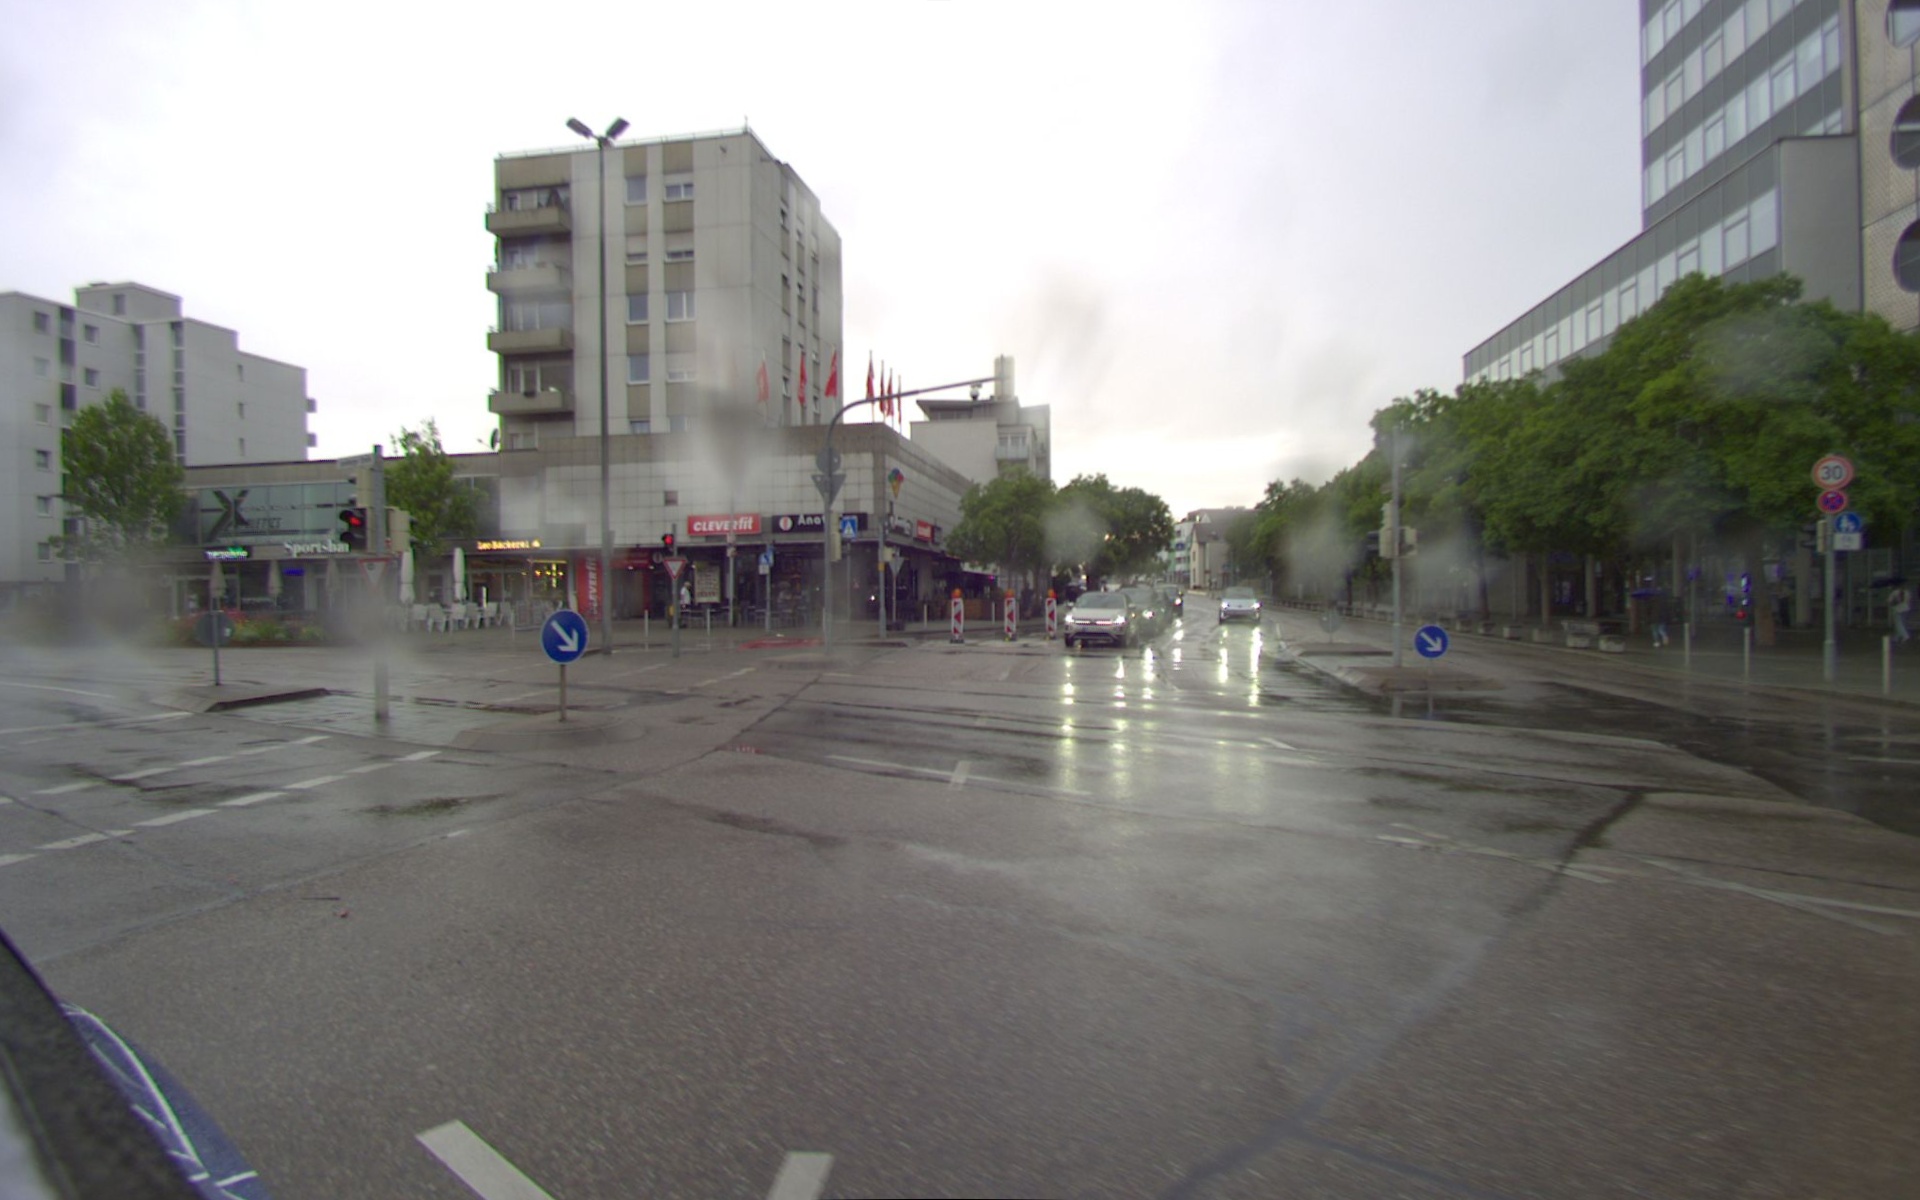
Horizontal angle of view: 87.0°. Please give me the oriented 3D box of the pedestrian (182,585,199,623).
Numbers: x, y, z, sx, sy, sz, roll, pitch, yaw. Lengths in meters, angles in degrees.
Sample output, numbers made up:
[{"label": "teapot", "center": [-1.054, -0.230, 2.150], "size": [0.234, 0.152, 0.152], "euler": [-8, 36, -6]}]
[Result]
[{"label": "pedestrian", "center": [-38.149, 0.204, 50.162], "size": [0.497, 1.862, 0.424], "euler": [-1, 0, 21]}]

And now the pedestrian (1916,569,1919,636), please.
[{"label": "pedestrian", "center": [27.454, 0.063, 28.315], "size": [0.748, 1.882, 0.827], "euler": [-1, -1, 22]}]

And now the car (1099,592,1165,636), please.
[{"label": "car", "center": [6.150, 0.442, 35.878], "size": [1.853, 1.431, 4.037], "euler": [0, 1, 16]}]

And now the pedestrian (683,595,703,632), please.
[{"label": "pedestrian", "center": [-9.977, 0.492, 37.839], "size": [0.490, 1.358, 0.537], "euler": [-1, 0, -44]}]

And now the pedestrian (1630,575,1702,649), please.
[{"label": "pedestrian", "center": [20.018, 0.318, 28.740], "size": [1.152, 2.029, 1.325], "euler": [-1, 0, 8]}]

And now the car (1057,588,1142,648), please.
[{"label": "car", "center": [4.097, 0.497, 29.193], "size": [1.853, 1.607, 4.183], "euler": [0, 0, 16]}]

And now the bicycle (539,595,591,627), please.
[{"label": "bicycle", "center": [-16.619, 0.445, 42.689], "size": [0.690, 1.232, 2.542], "euler": [-1, 1, 14]}]

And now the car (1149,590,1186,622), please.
[{"label": "car", "center": [11.254, 0.290, 54.825], "size": [1.700, 1.607, 3.981], "euler": [-1, 1, 15]}]

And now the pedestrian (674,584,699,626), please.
[{"label": "pedestrian", "center": [-11.217, 0.206, 41.493], "size": [0.714, 1.706, 0.649], "euler": [-1, 1, 36]}]

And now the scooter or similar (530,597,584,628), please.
[{"label": "scooter or similar", "center": [-16.105, 0.493, 40.517], "size": [0.636, 1.183, 2.583], "euler": [-1, 0, 13]}]

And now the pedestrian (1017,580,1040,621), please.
[{"label": "pedestrian", "center": [3.211, 0.031, 47.456], "size": [0.805, 1.908, 0.713], "euler": [-1, 0, 29]}]

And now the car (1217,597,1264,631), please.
[{"label": "car", "center": [12.523, 0.607, 45.360], "size": [1.755, 1.431, 4.042], "euler": [-1, 0, 13]}]

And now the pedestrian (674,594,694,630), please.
[{"label": "pedestrian", "center": [-10.446, 0.439, 38.296], "size": [0.537, 1.358, 0.490], "euler": [1, 2, 44]}]
